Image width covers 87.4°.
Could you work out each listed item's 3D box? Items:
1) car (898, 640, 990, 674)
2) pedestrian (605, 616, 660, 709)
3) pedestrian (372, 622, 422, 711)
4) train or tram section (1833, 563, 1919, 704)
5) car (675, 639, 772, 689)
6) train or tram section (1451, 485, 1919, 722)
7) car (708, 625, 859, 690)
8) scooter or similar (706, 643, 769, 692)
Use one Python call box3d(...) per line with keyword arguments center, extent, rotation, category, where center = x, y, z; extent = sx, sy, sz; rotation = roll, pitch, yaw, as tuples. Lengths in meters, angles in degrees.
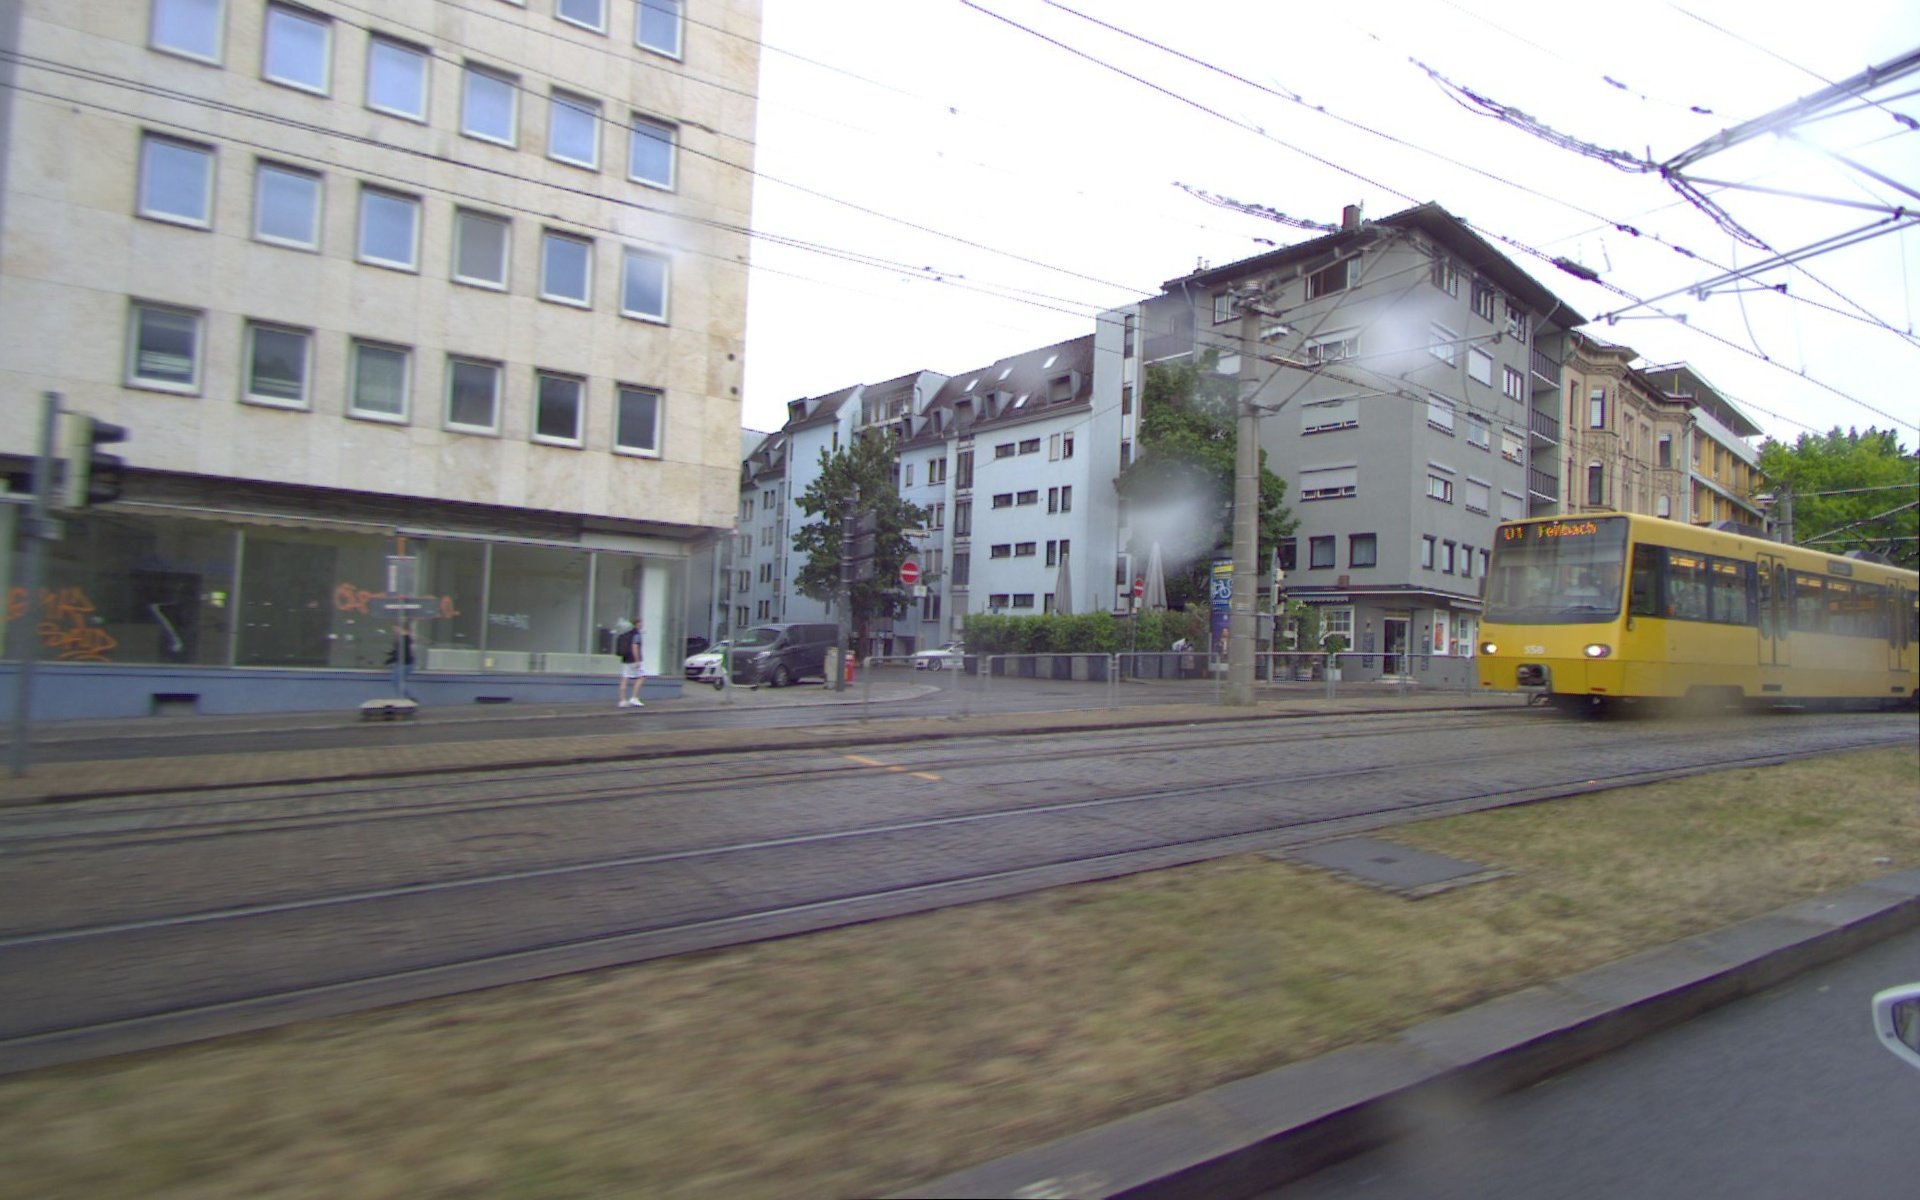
box3d(center=(-0.771, 2.667, 47.790), extent=(3.946, 1.528, 1.981), rotation=(1, -2, -25), category="car")
box3d(center=(-6.363, 1.192, 19.516), extent=(0.899, 1.761, 0.593), rotation=(1, -2, -32), category="pedestrian")
box3d(center=(-10.234, 1.196, 18.253), extent=(0.768, 1.569, 0.674), rotation=(1, -2, -32), category="pedestrian")
box3d(center=(33.243, 1.313, 32.308), extent=(18.767, 3.745, 2.730), rotation=(3, -2, -33), category="train or tram section")
box3d(center=(-8.426, 2.255, 36.147), extent=(1.953, 1.661, 4.003), rotation=(0, -2, 10), category="car")
box3d(center=(17.497, 0.482, 22.111), extent=(18.767, 3.745, 2.730), rotation=(3, -2, -33), category="train or tram section")
box3d(center=(-5.473, 1.749, 31.978), extent=(1.963, 1.853, 5.228), rotation=(0, -2, 27), category="car")
box3d(center=(-5.553, 1.670, 25.097), extent=(1.459, 1.161, 0.566), rotation=(0, -1, 19), category="scooter or similar")
